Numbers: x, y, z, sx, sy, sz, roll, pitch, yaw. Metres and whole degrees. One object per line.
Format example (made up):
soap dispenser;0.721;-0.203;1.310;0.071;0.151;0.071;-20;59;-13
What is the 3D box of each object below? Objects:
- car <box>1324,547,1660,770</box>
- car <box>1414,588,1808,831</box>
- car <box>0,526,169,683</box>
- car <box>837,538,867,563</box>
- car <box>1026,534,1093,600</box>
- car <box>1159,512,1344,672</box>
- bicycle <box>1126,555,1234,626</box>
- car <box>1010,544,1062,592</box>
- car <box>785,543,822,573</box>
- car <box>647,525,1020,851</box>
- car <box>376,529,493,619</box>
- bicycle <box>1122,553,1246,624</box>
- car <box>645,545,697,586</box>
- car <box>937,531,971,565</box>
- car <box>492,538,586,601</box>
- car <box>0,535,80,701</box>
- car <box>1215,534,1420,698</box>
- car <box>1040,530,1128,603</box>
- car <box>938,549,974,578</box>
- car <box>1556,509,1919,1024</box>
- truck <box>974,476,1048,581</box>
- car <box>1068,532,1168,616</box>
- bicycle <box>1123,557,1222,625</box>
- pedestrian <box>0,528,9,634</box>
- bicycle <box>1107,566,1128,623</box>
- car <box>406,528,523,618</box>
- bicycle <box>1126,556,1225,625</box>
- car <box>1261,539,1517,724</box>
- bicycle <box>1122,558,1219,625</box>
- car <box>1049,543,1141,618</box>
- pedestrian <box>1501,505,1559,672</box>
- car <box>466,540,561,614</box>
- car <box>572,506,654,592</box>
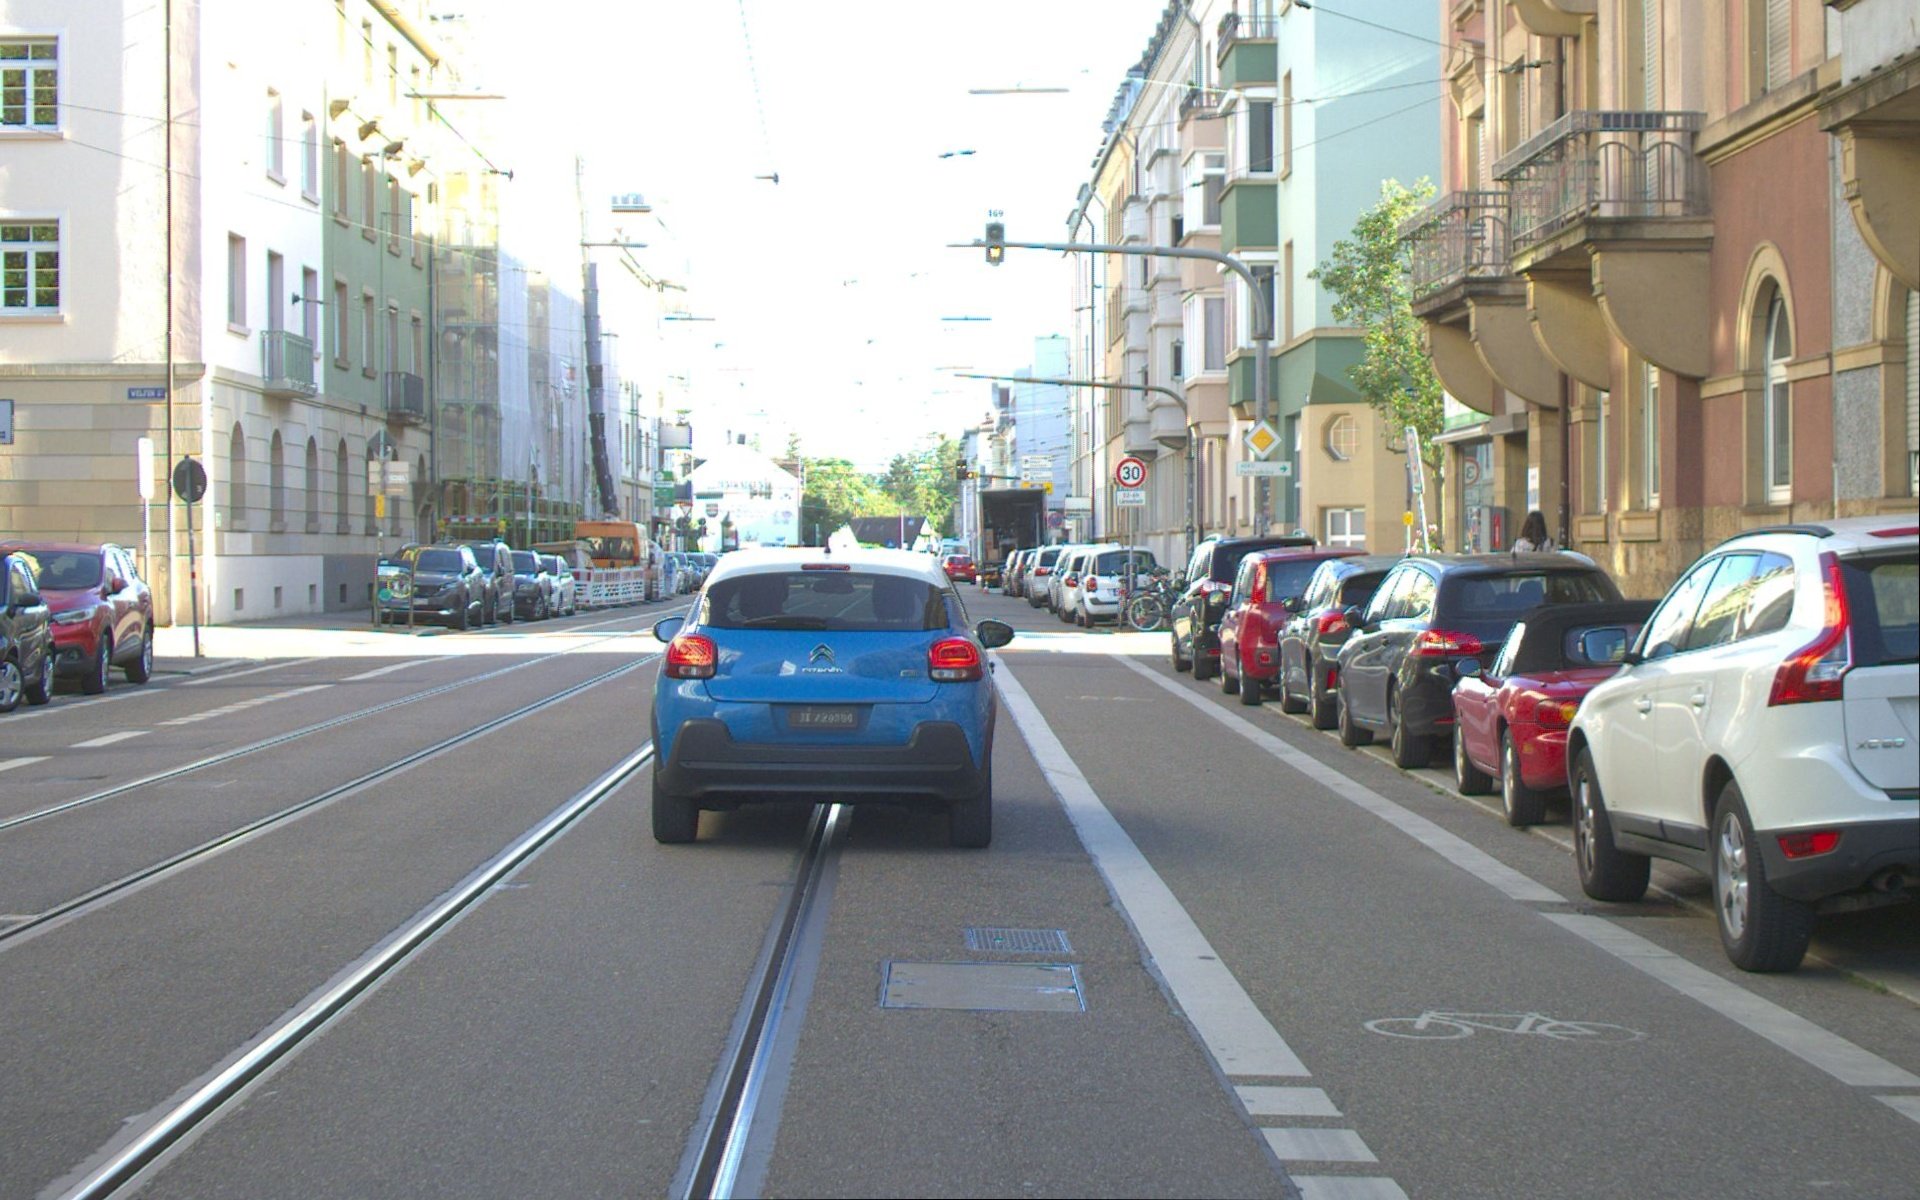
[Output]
car;3.798;0.357;25.239;1.654;1.478;4.475;0;1;-2
car;3.795;0.582;20.734;1.654;1.245;4.505;0;1;2
car;-10.107;-0.002;38.184;1.783;1.601;4.398;2;1;-3
car;-7.111;-3.282;227.075;1.826;1.626;4.490;0;1;0
car;2.814;-0.939;97.750;1.730;1.821;4.687;0;1;0
car;3.466;-0.126;41.574;1.753;1.730;4.507;-3;1;0
bicycle;3.938;-0.167;61.710;1.842;1.150;0.469;-3;1;0
car;2.592;-1.111;118.232;1.664;1.641;4.222;0;1;0
car;-8.428;-2.271;185.191;1.826;1.626;4.490;0;1;0
car;-0.617;0.386;18.389;1.735;1.502;3.993;2;1;0
car;-10.501;-0.543;68.971;1.783;1.684;4.668;2;1;-3
bicycle;3.965;-0.211;61.010;2.086;1.150;0.848;-3;1;0
car;-11.473;-1.373;136.552;1.714;1.588;4.267;0;1;0
car;-0.418;-3.491;231.982;2.220;2.276;4.084;0;1;0
car;-10.582;-0.790;86.647;1.718;1.497;4.388;2;1;1
car;-9.964;0.133;33.929;1.783;1.547;3.019;2;1;-1
car;3.612;0.121;35.266;1.753;1.589;3.730;0;1;1
car;3.067;-0.846;85.742;1.654;1.746;4.604;0;1;-5
car;-0.210;-1.847;173.162;1.765;1.481;4.032;0;1;0
car;3.666;0.506;13.496;1.843;1.685;4.505;0;1;0
truck;2.048;-2.886;139.750;2.853;4.069;11.271;0;1;1
car;3.136;-0.532;68.847;1.783;1.626;4.000;0;1;0
bicycle;3.919;-0.170;63.496;1.722;1.150;0.469;-3;1;0
pedestrian;-15.818;-0.309;55.713;0.606;1.706;0.732;0;1;-1
bicycle;2.931;-0.109;63.974;0.353;1.041;1.728;0;1;1
car;-10.575;-0.608;73.650;1.783;1.810;4.528;2;1;0
bicycle;3.941;-0.169;62.948;1.722;1.150;0.469;-3;1;0
car;3.700;0.217;30.322;1.654;1.508;4.474;0;1;-1
bicycle;3.963;-0.164;64.797;1.722;1.150;0.469;-3;1;0
car;2.893;-0.449;74.448;1.783;1.570;4.326;0;1;0
pedestrian;5.780;-0.119;34.881;0.513;1.681;0.448;0;1;-1
car;-10.435;-0.566;80.616;1.783;1.621;4.610;2;1;-3
car;-10.401;-1.549;103.463;2.144;2.467;4.981;-1;1;-3
